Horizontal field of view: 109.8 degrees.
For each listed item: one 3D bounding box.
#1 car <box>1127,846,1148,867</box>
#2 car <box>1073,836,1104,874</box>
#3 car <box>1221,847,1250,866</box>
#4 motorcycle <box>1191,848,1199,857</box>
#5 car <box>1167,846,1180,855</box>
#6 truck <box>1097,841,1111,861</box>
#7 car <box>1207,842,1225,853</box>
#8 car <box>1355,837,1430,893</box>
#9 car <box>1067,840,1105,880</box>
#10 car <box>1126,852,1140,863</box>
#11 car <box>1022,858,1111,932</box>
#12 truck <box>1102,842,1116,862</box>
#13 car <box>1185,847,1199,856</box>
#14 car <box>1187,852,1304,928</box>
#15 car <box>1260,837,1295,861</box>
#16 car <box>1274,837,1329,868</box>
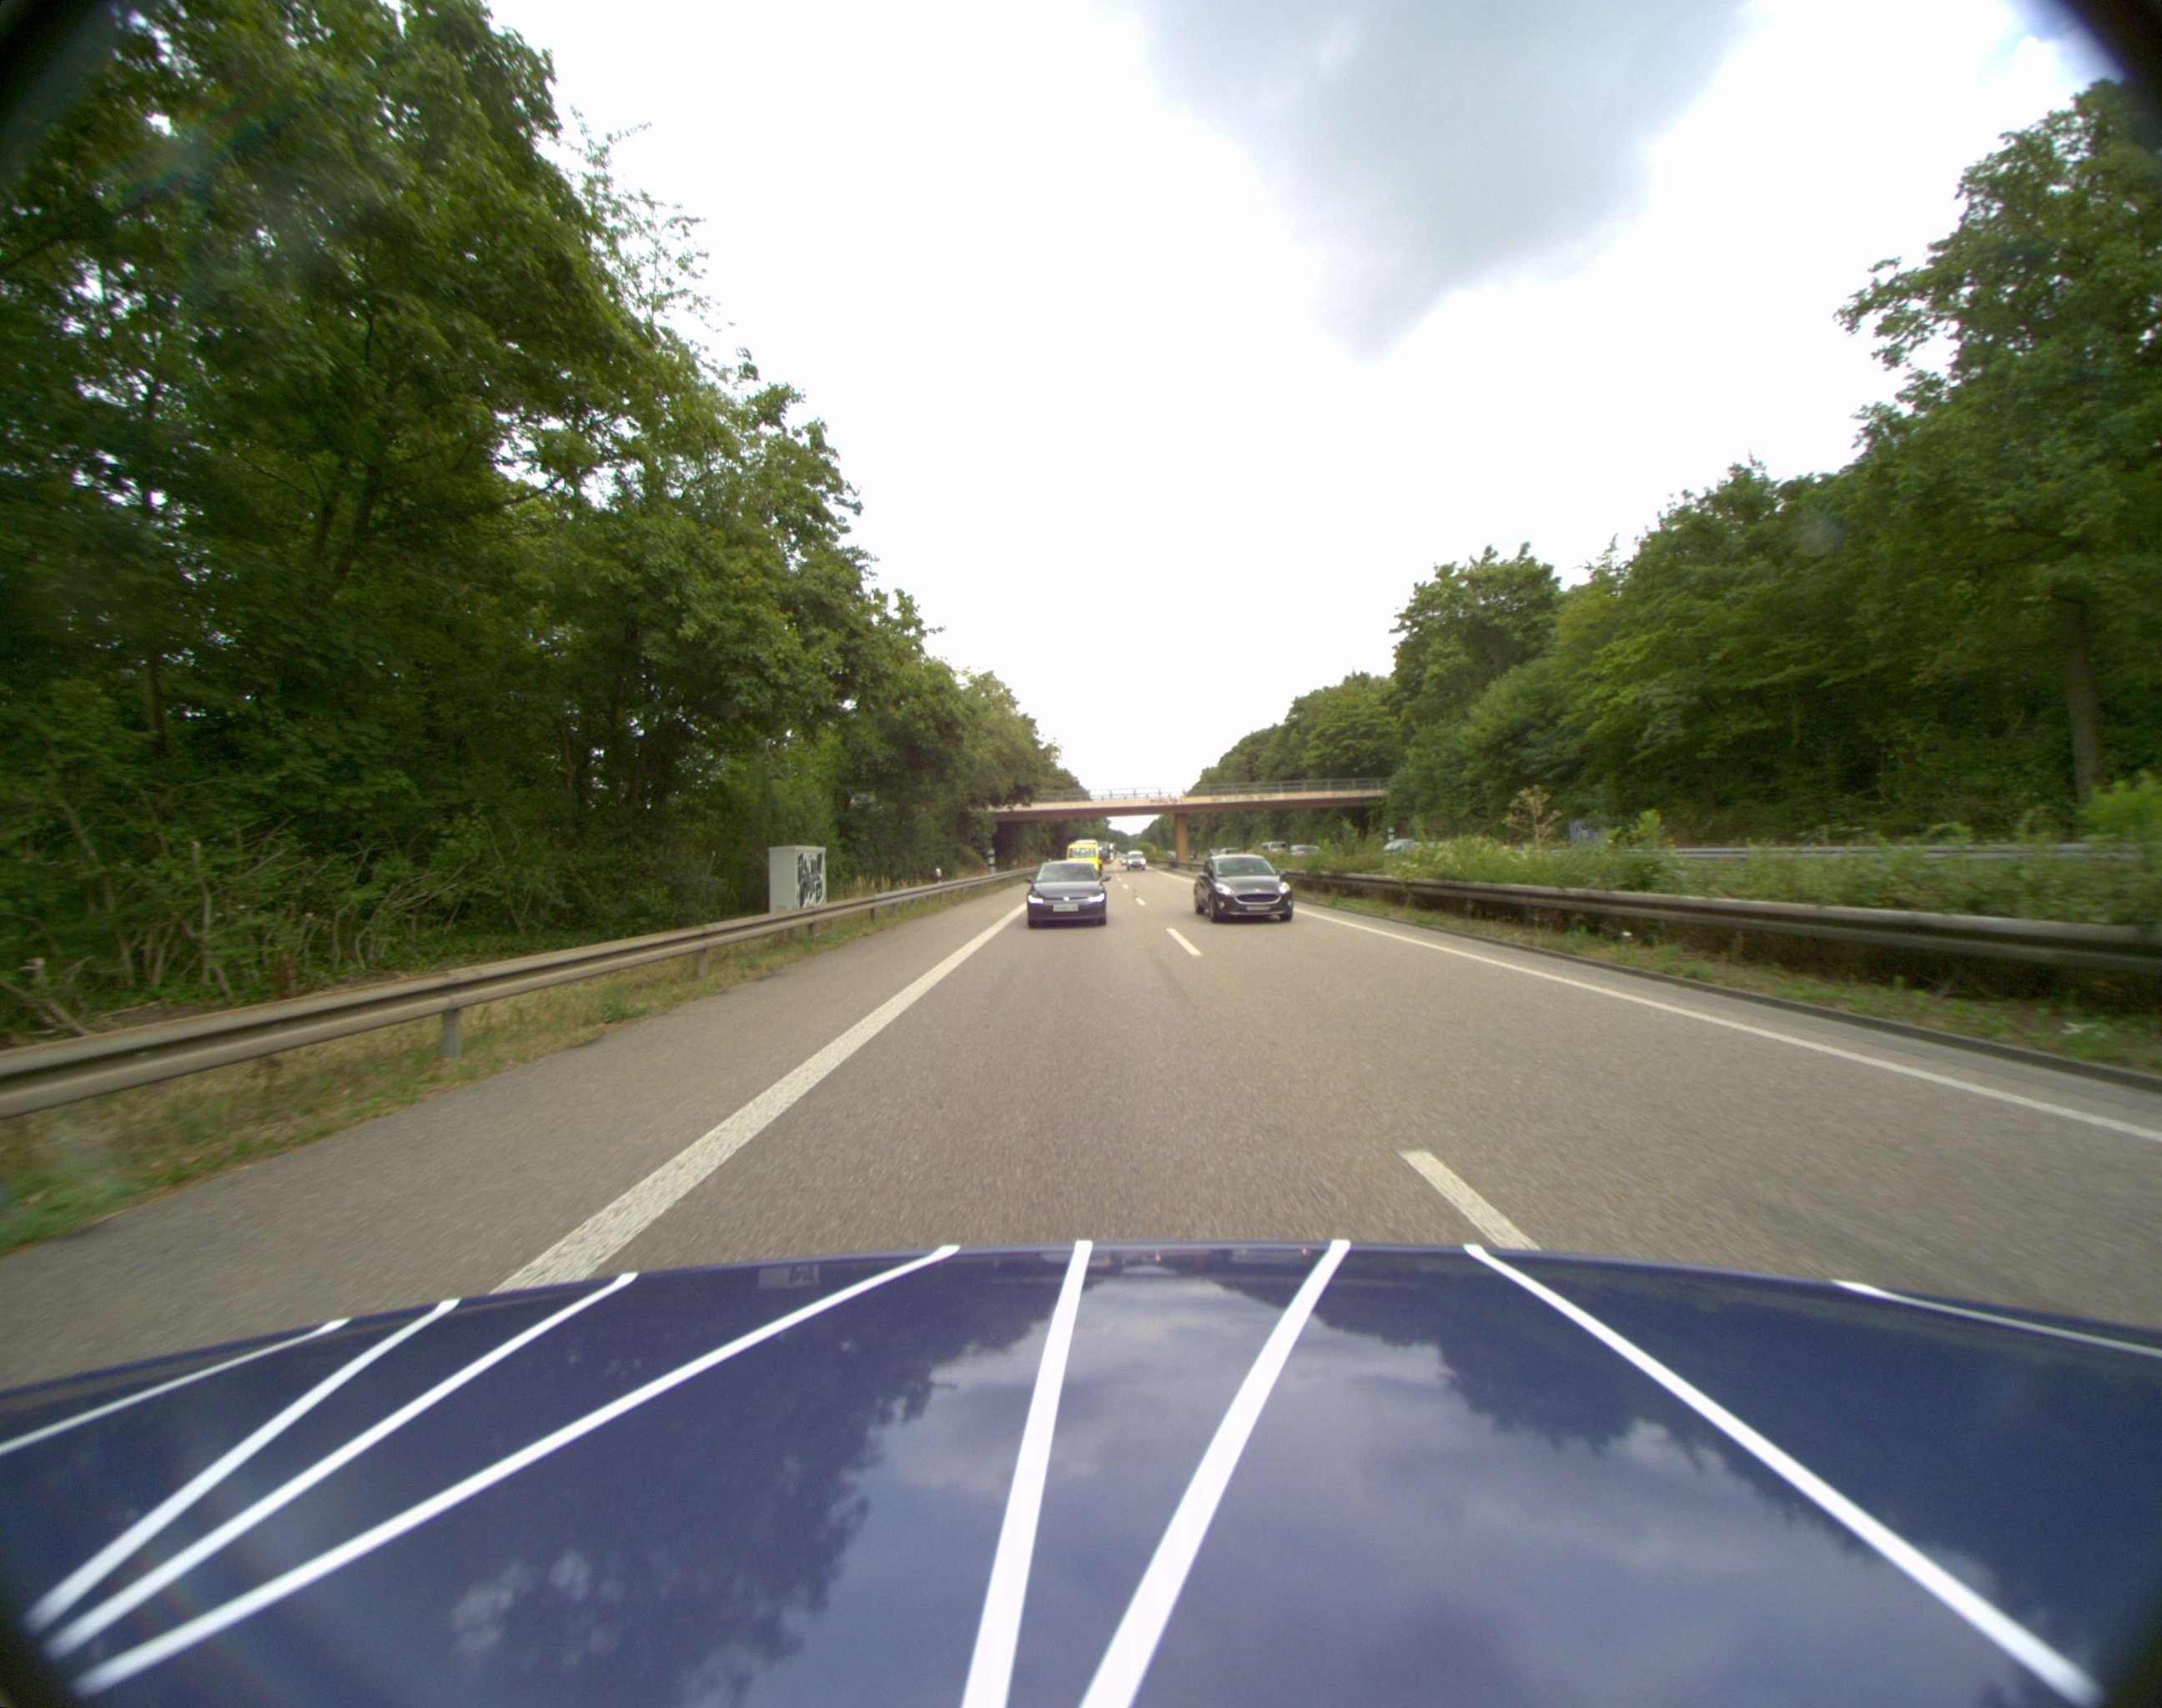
[{"bbox_3d":[5.583,0.196,75.399,1.821,1.993,4.423,-1,1,2],"label":"car"},{"bbox_3d":[0.529,0.033,58.319,2.207,2.732,6.166,-2,1,-1],"label":"car"},{"bbox_3d":[13.818,0.215,68.107,1.807,1.581,4.181,-2,1,1],"label":"car"},{"bbox_3d":[14.750,-0.170,98.053,0.703,1.061,2.196,-1,1,2],"label":"motorcycle"},{"bbox_3d":[15.247,-0.546,125.459,1.693,1.372,4.936,-1,1,2],"label":"car"},{"bbox_3d":[4.189,-0.539,138.800,2.548,3.564,6.456,-1,1,2],"label":"truck"},{"bbox_3d":[19.477,-0.952,110.143,1.898,1.642,4.639,-1,1,2],"label":"car"},{"bbox_3d":[11.500,0.366,28.283,1.463,1.932,3.362,-1,1,1],"label":"car"},{"bbox_3d":[0.256,0.323,48.683,2.248,2.334,5.223,-2,1,-1],"label":"car"},{"bbox_3d":[7.387,0.460,107.721,1.772,1.416,4.198,-1,1,2],"label":"car"},{"bbox_3d":[-0.258,0.862,18.040,1.800,1.398,4.639,-2,1,1],"label":"car"},{"bbox_3d":[6.687,-0.524,183.154,3.099,4.463,12.208,-1,1,2],"label":"truck"},{"bbox_3d":[20.508,-0.471,140.565,1.898,1.677,4.639,-1,1,2],"label":"car"},{"bbox_3d":[3.653,0.725,17.669,1.830,1.449,4.639,-1,1,2],"label":"car"},{"bbox_3d":[17.515,-0.468,68.002,1.800,2.002,5.301,-2,1,1],"label":"car"},{"bbox_3d":[12.437,-0.110,43.072,1.998,1.601,4.000,-1,1,1],"label":"car"}]
